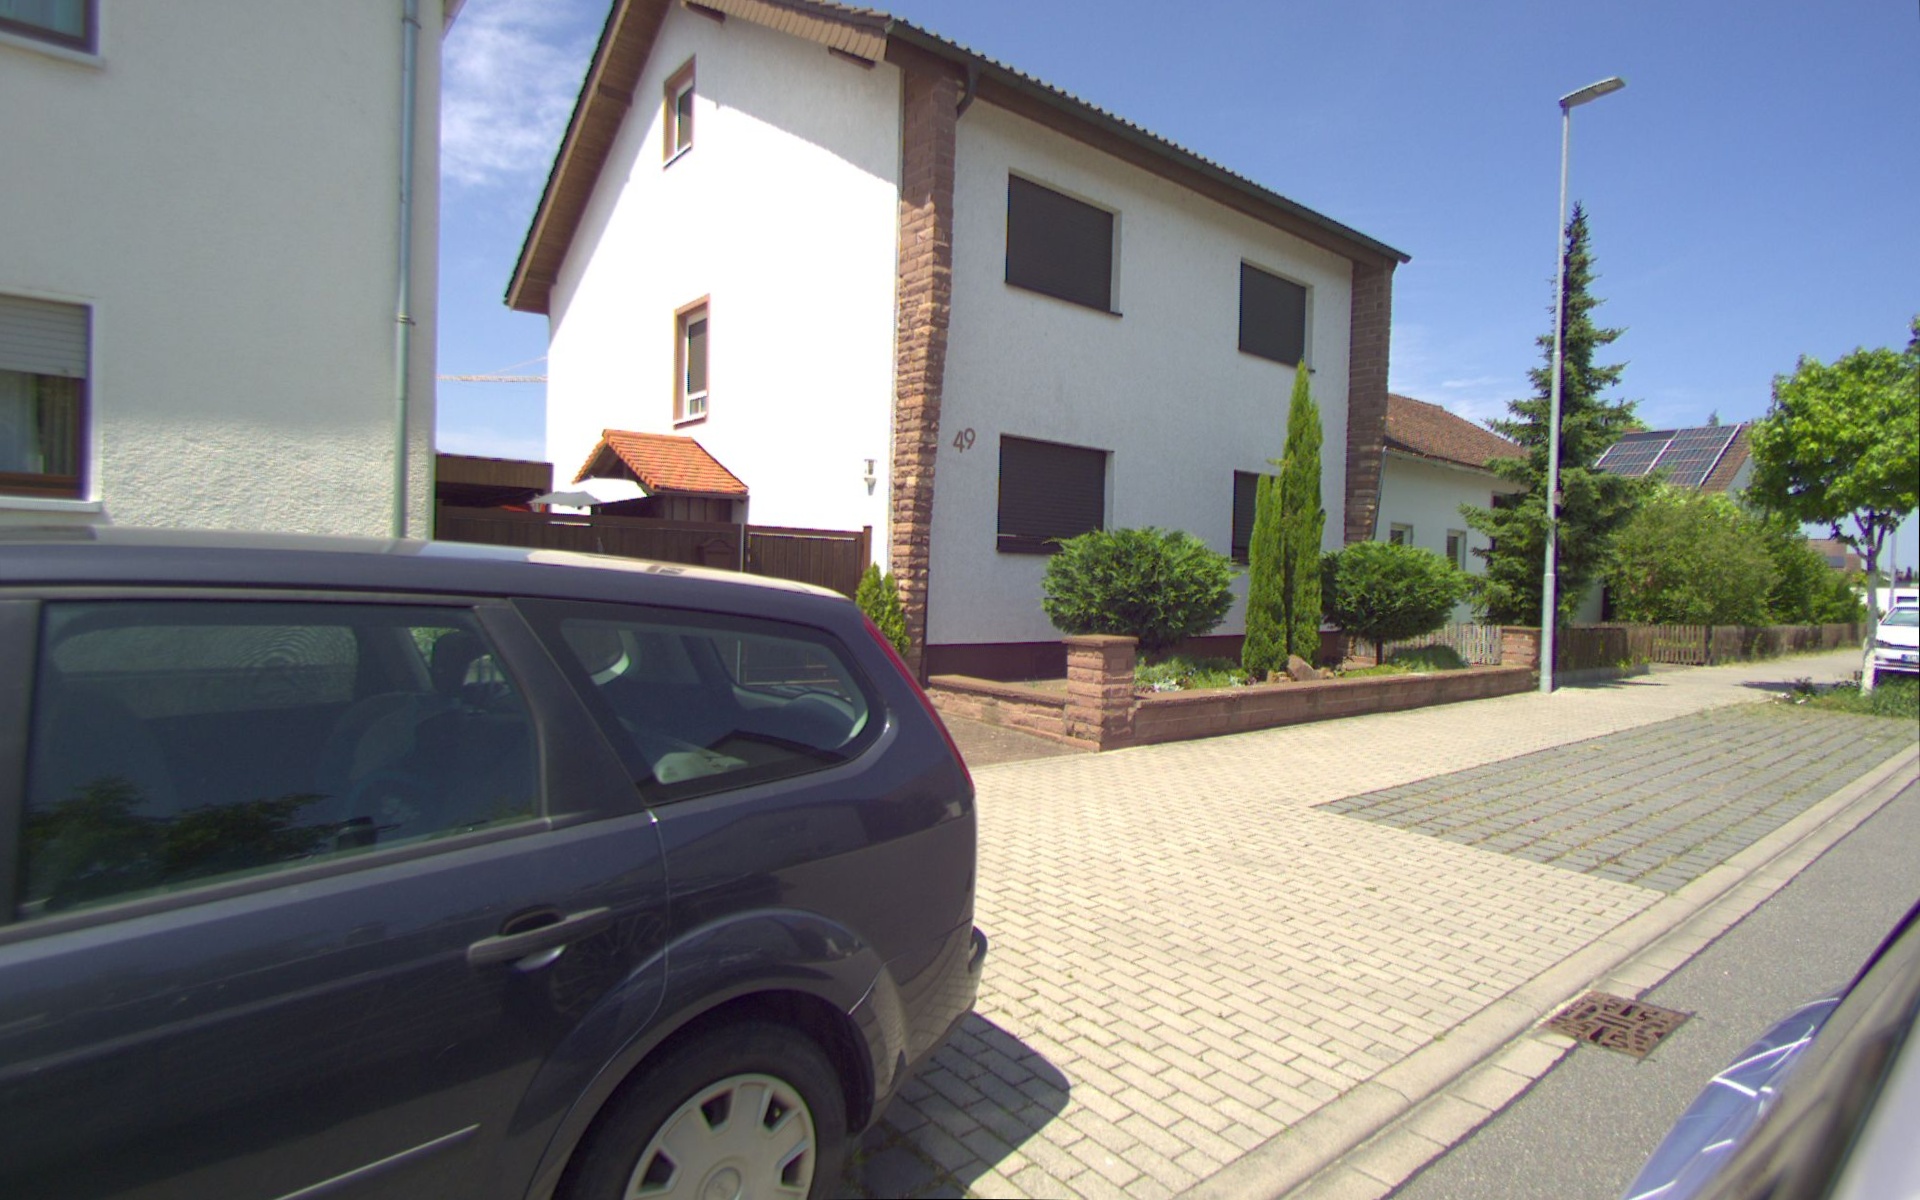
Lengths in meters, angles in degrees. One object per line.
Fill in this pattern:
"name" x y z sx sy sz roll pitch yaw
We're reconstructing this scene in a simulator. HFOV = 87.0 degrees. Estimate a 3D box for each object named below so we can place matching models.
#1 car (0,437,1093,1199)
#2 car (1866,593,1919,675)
"car" -1.882 0.565 1.606 4.373 1.552 1.744 0 2 -43
"car" 18.657 0.631 19.105 3.800 1.437 1.818 0 2 -41
